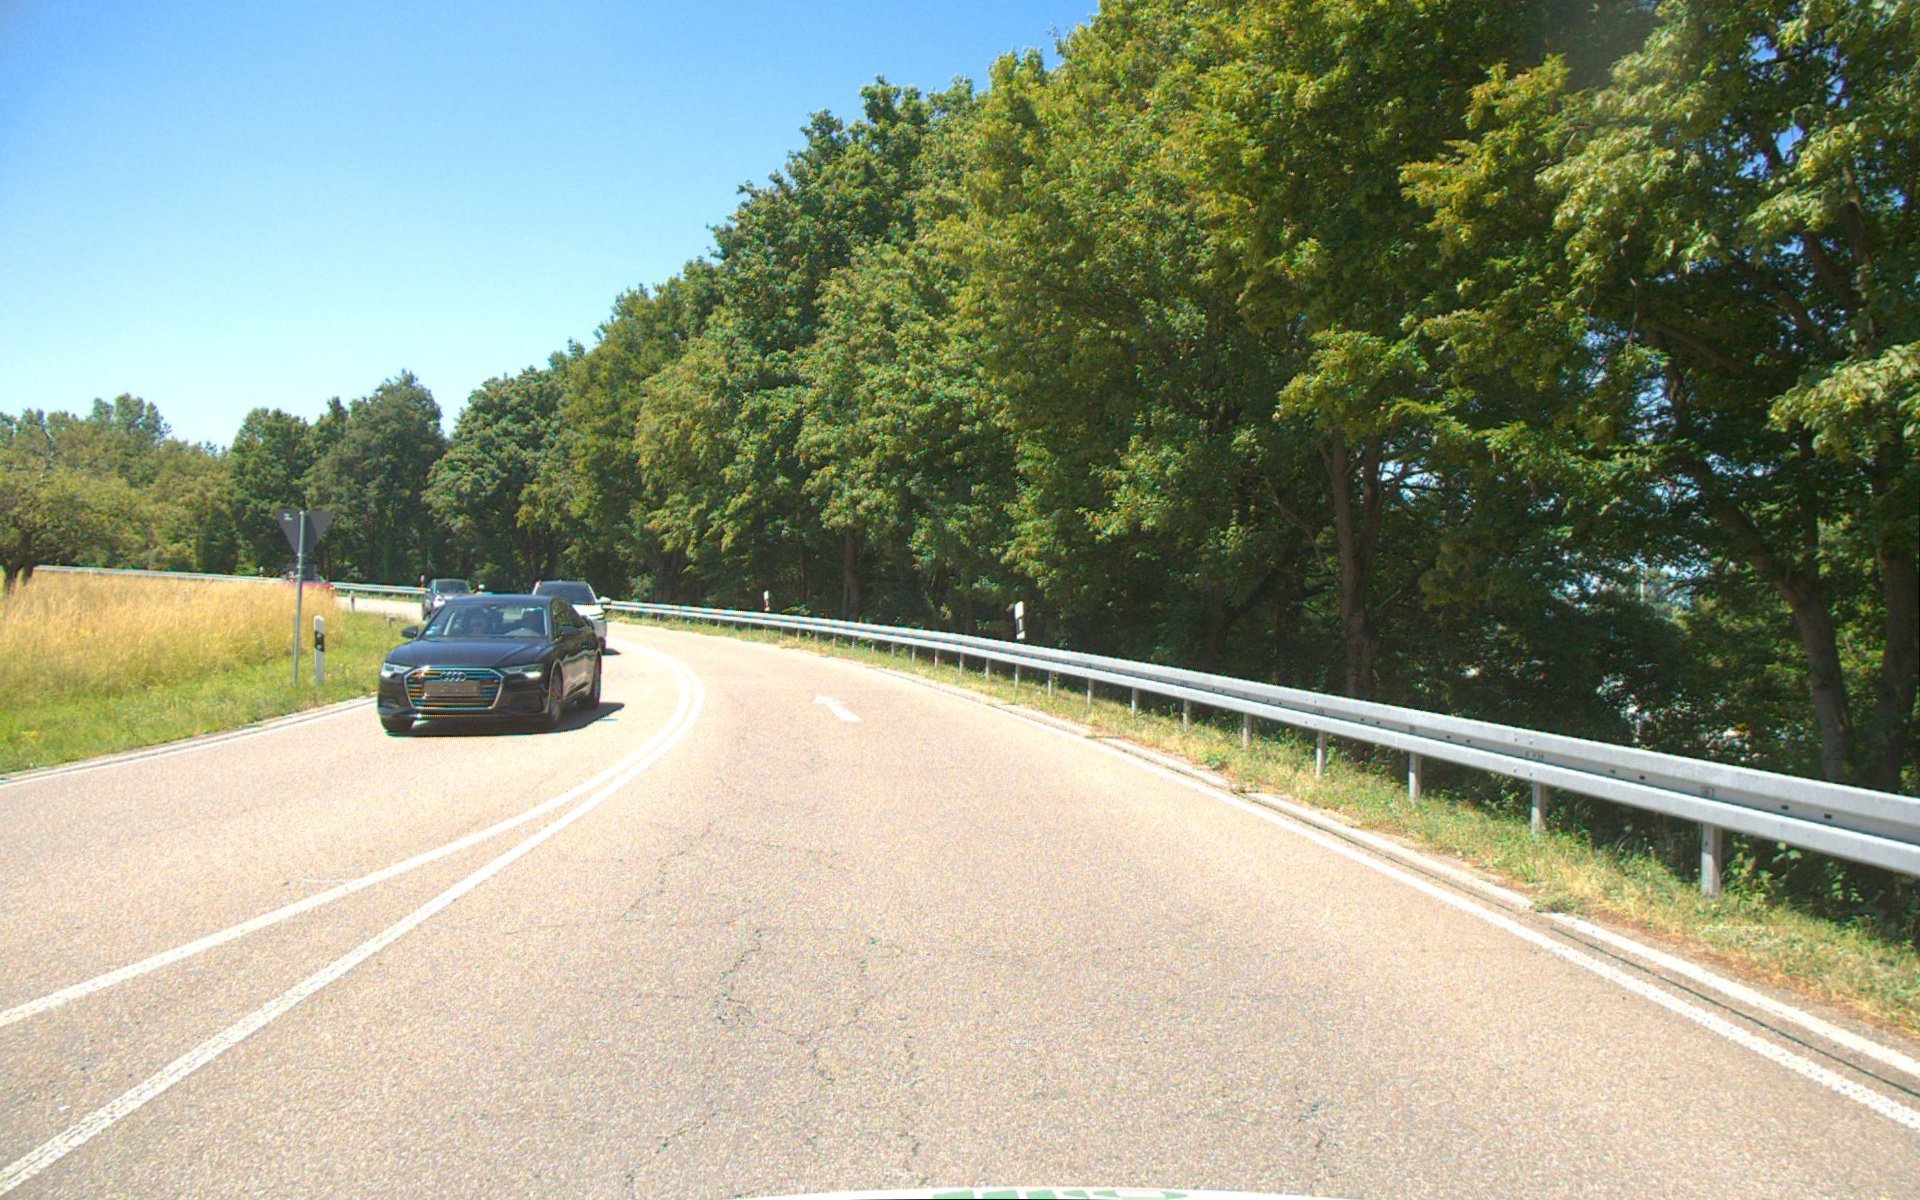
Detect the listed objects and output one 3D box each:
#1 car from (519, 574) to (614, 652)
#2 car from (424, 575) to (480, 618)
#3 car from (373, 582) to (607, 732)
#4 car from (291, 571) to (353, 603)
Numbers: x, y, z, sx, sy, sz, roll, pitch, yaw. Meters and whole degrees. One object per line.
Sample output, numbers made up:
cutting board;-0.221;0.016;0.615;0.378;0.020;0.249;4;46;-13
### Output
car;-8.994;0.295;37.592;1.794;1.618;4.196;-2;0;-17
car;-18.926;-0.135;61.484;1.710;1.533;4.047;1;0;-21
car;-5.370;0.592;19.493;1.767;1.533;4.653;-1;0;-5
car;-32.059;-0.638;83.093;1.809;1.483;4.342;-2;0;-37
